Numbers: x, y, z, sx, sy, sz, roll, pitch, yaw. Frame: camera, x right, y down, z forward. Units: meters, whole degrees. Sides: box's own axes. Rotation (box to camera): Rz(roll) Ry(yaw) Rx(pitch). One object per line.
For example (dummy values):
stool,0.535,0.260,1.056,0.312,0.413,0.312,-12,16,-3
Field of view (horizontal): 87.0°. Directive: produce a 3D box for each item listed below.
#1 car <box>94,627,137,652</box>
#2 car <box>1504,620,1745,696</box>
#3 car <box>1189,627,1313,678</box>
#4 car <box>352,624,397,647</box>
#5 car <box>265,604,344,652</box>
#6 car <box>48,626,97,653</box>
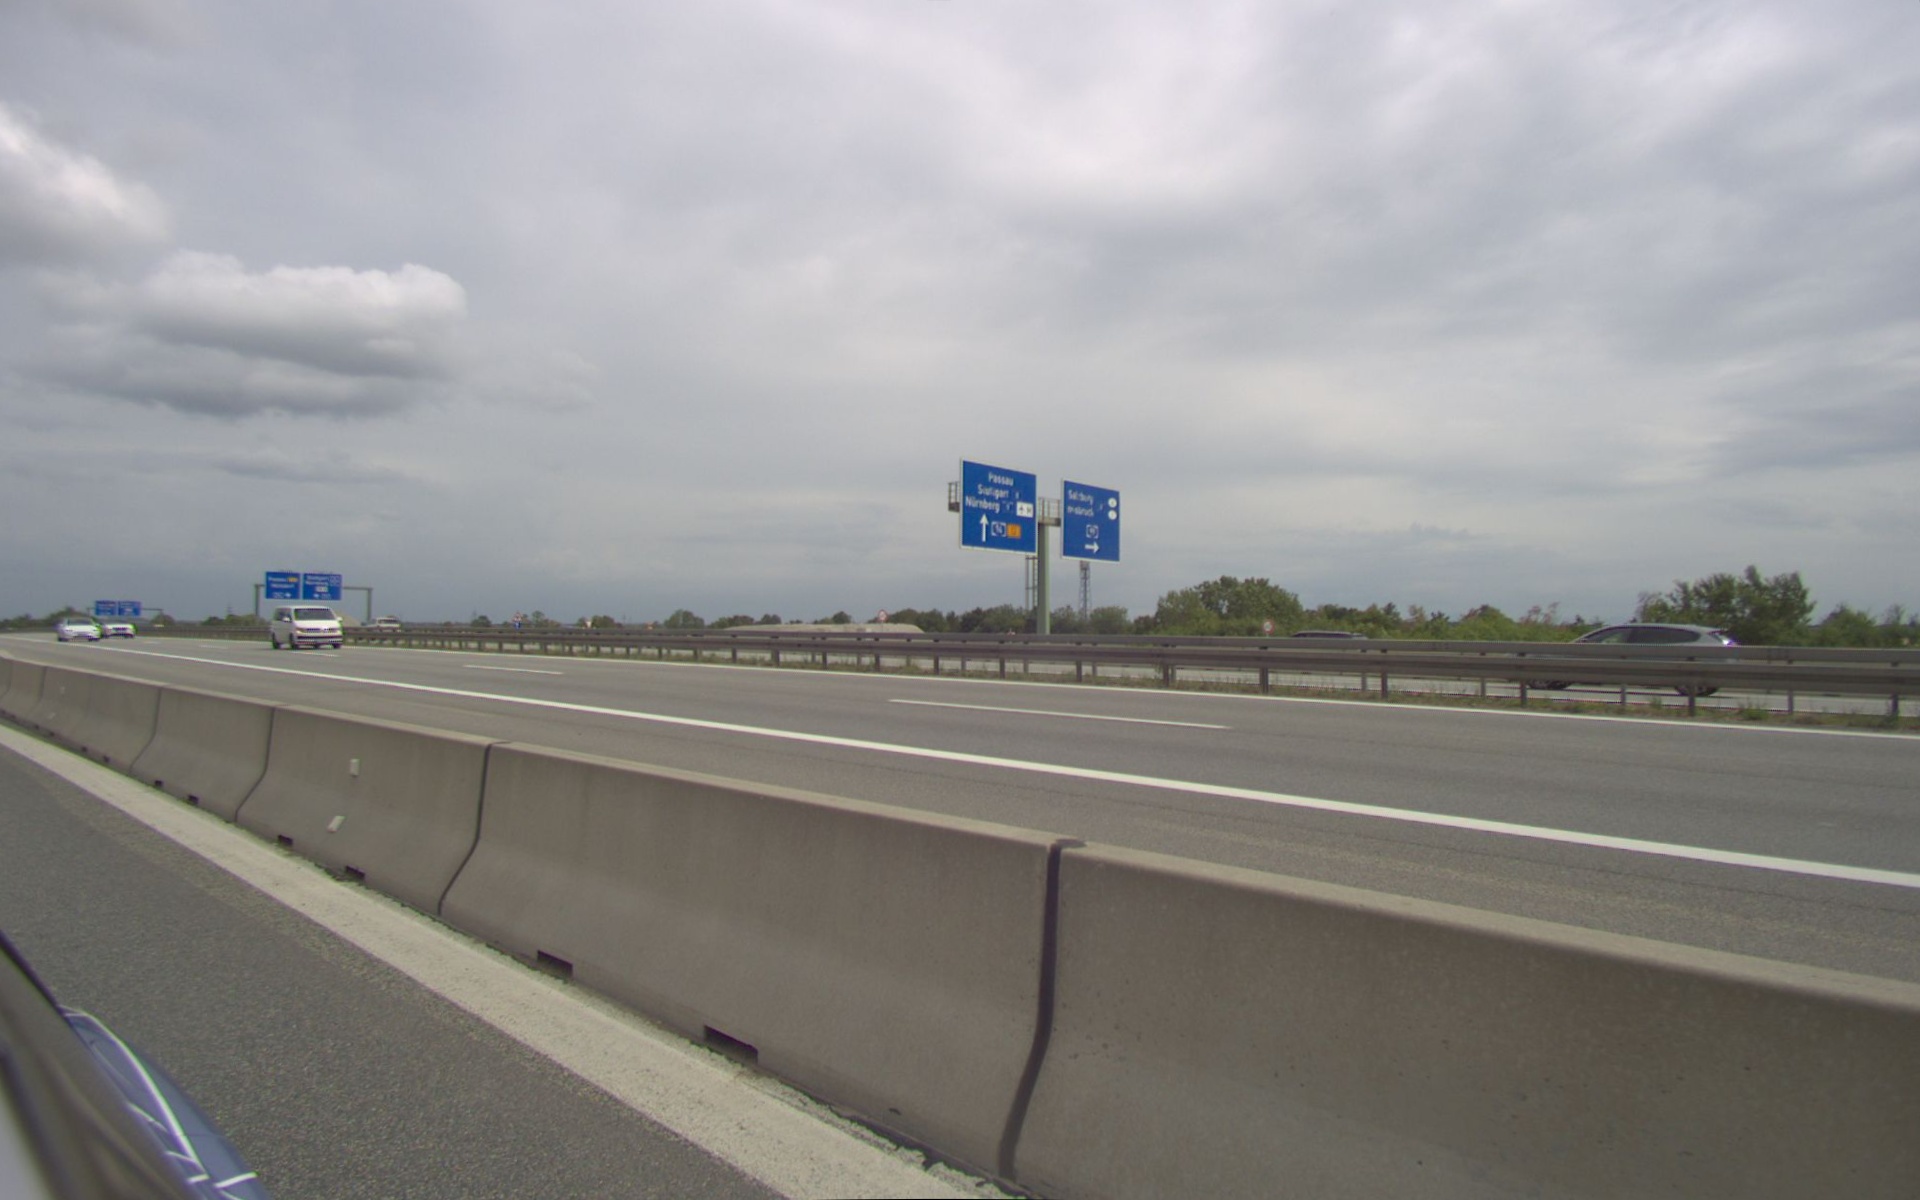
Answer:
car,-66.675,3.112,79.888,3.998,1.896,1.973,-3,-2,41
car,13.867,1.149,21.246,4.000,1.409,1.686,-1,-1,43
car,10.641,1.883,37.172,4.001,1.719,1.809,-1,-1,44
car,-44.178,2.655,76.329,4.517,1.635,1.725,-3,-2,43
car,-29.546,1.289,45.560,4.466,2.029,1.971,-3,-2,44
car,-60.297,2.696,68.747,3.998,1.763,1.973,-3,-2,41
